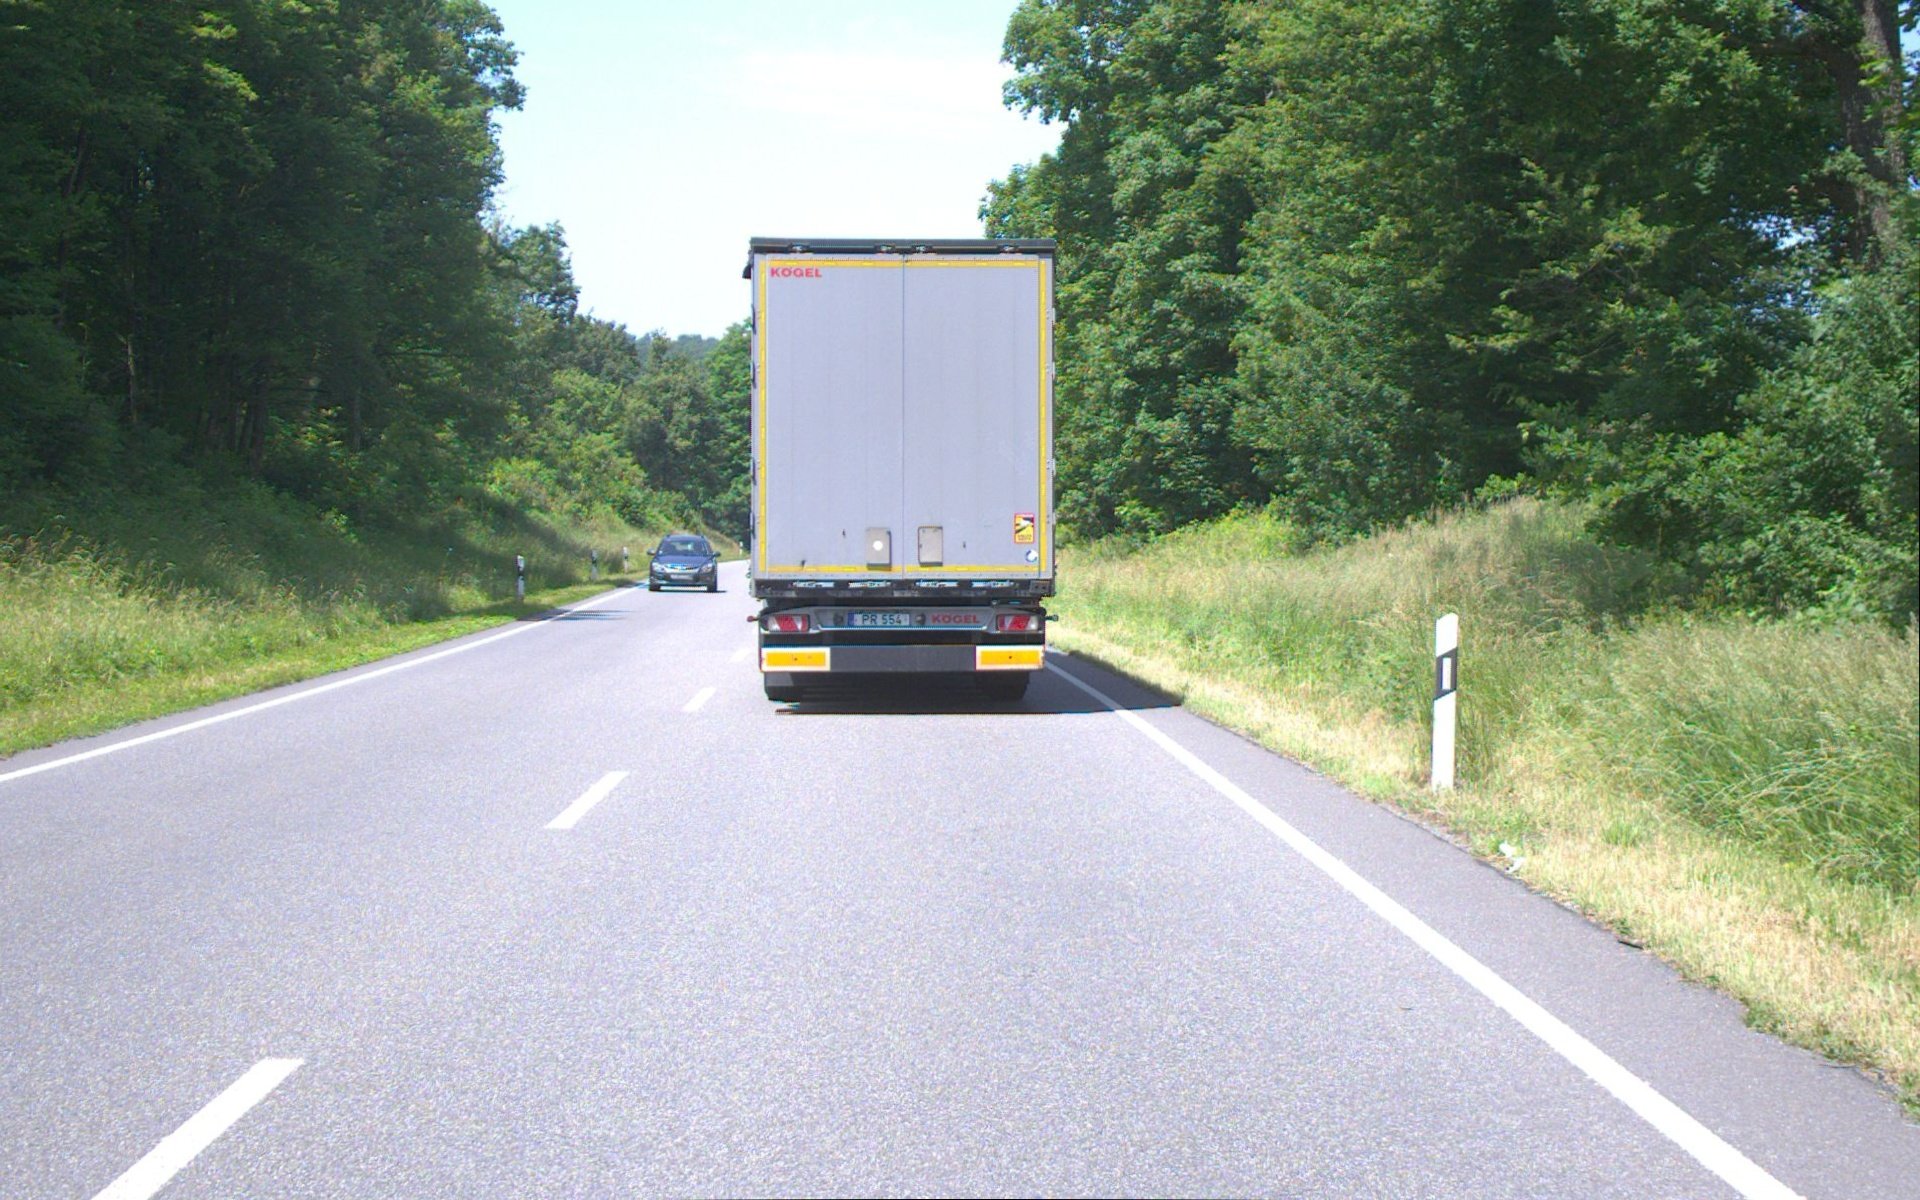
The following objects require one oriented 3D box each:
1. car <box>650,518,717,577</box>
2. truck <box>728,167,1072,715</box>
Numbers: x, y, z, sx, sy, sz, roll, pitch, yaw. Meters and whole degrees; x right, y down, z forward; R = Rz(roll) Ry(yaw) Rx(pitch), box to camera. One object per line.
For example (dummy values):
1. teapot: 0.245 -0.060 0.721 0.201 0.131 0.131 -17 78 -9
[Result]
1. car: -7.536 -1.434 93.974 1.771 1.565 4.218 0 1 -4
2. truck: -0.769 -1.427 34.386 2.817 4.517 11.769 0 1 -3
